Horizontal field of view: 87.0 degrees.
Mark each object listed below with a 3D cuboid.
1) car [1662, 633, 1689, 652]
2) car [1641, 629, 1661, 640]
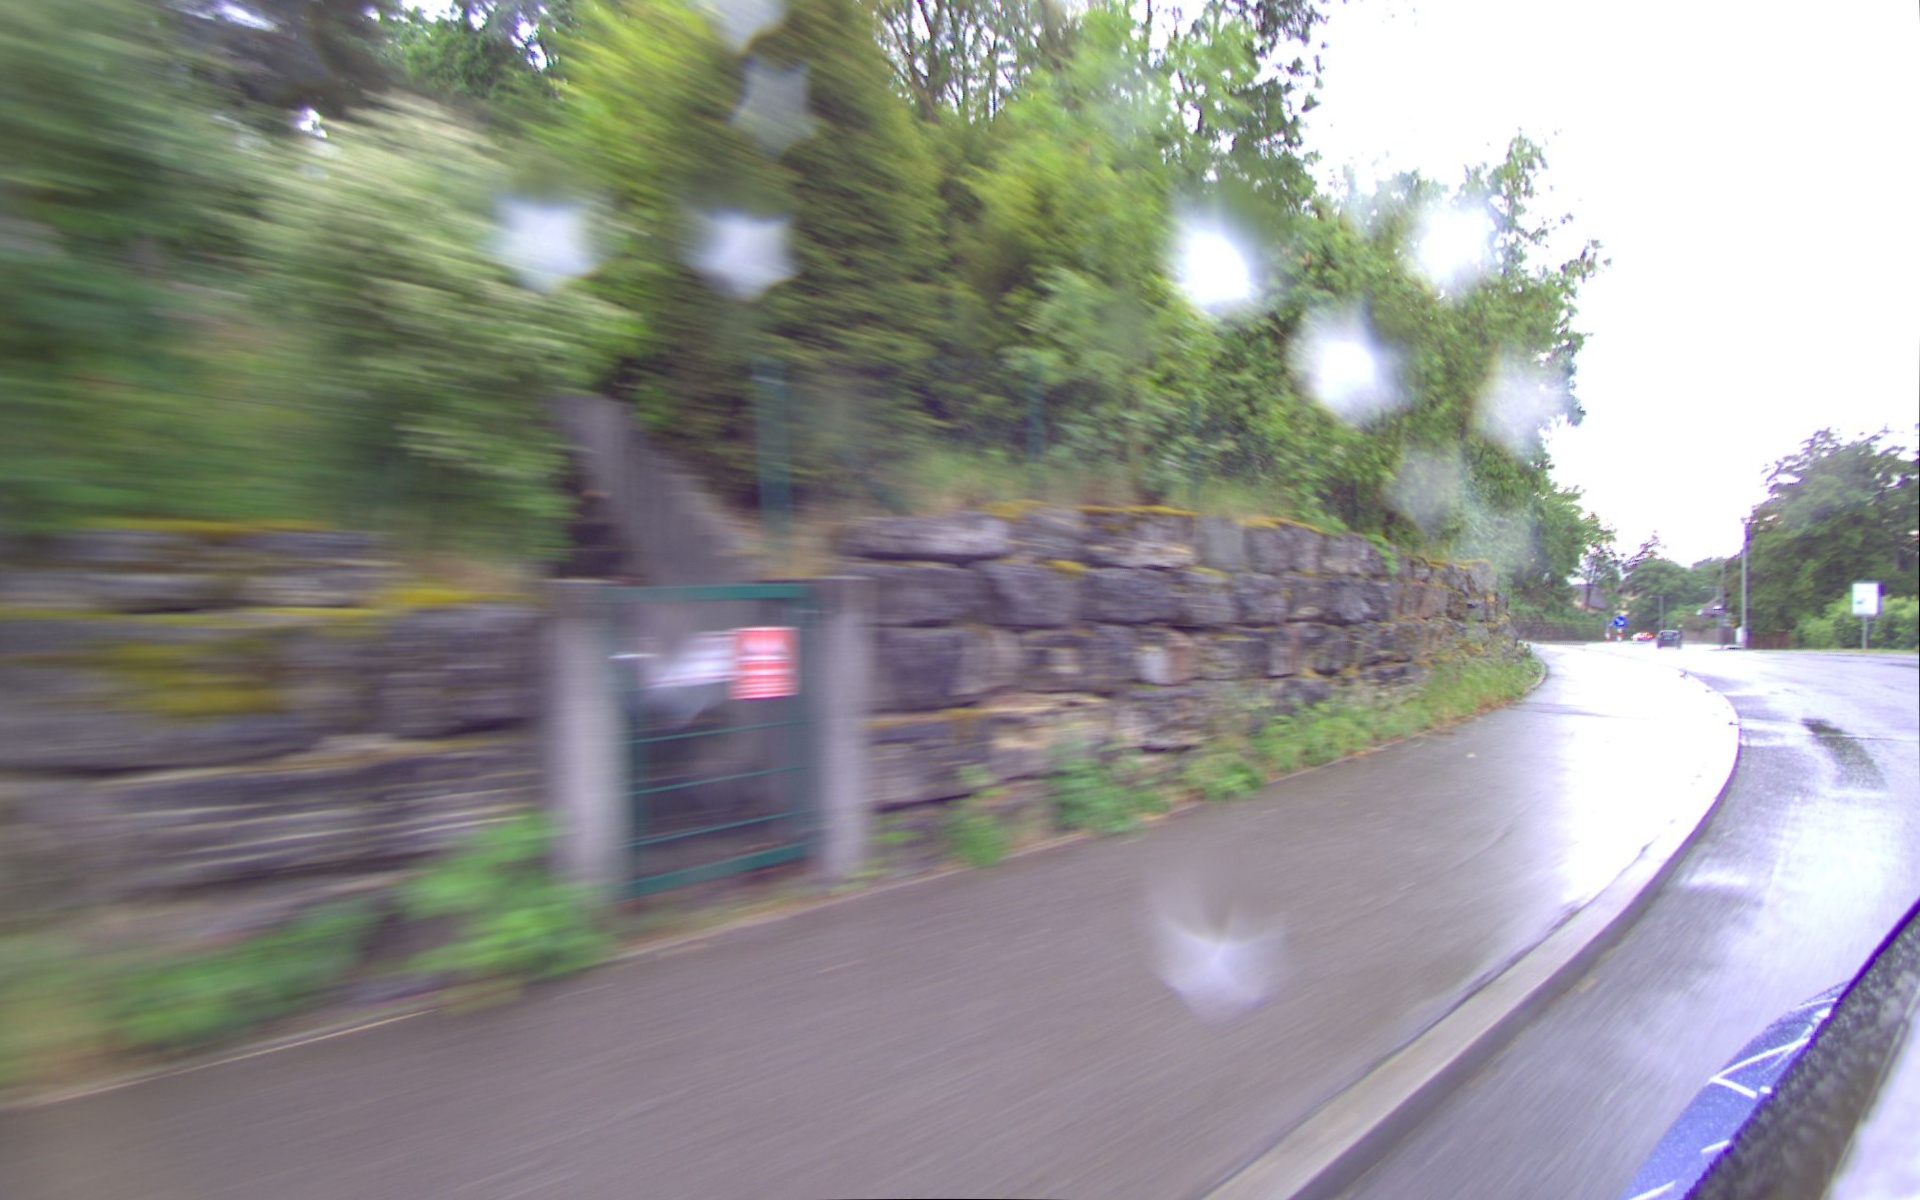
[{"bbox_3d":[61.863,3.633,87.455,1.827,1.539,4.565,2,0,36],"label":"car"},{"bbox_3d":[118.201,5.838,173.138,1.902,1.668,4.512,2,0,22],"label":"car"}]
